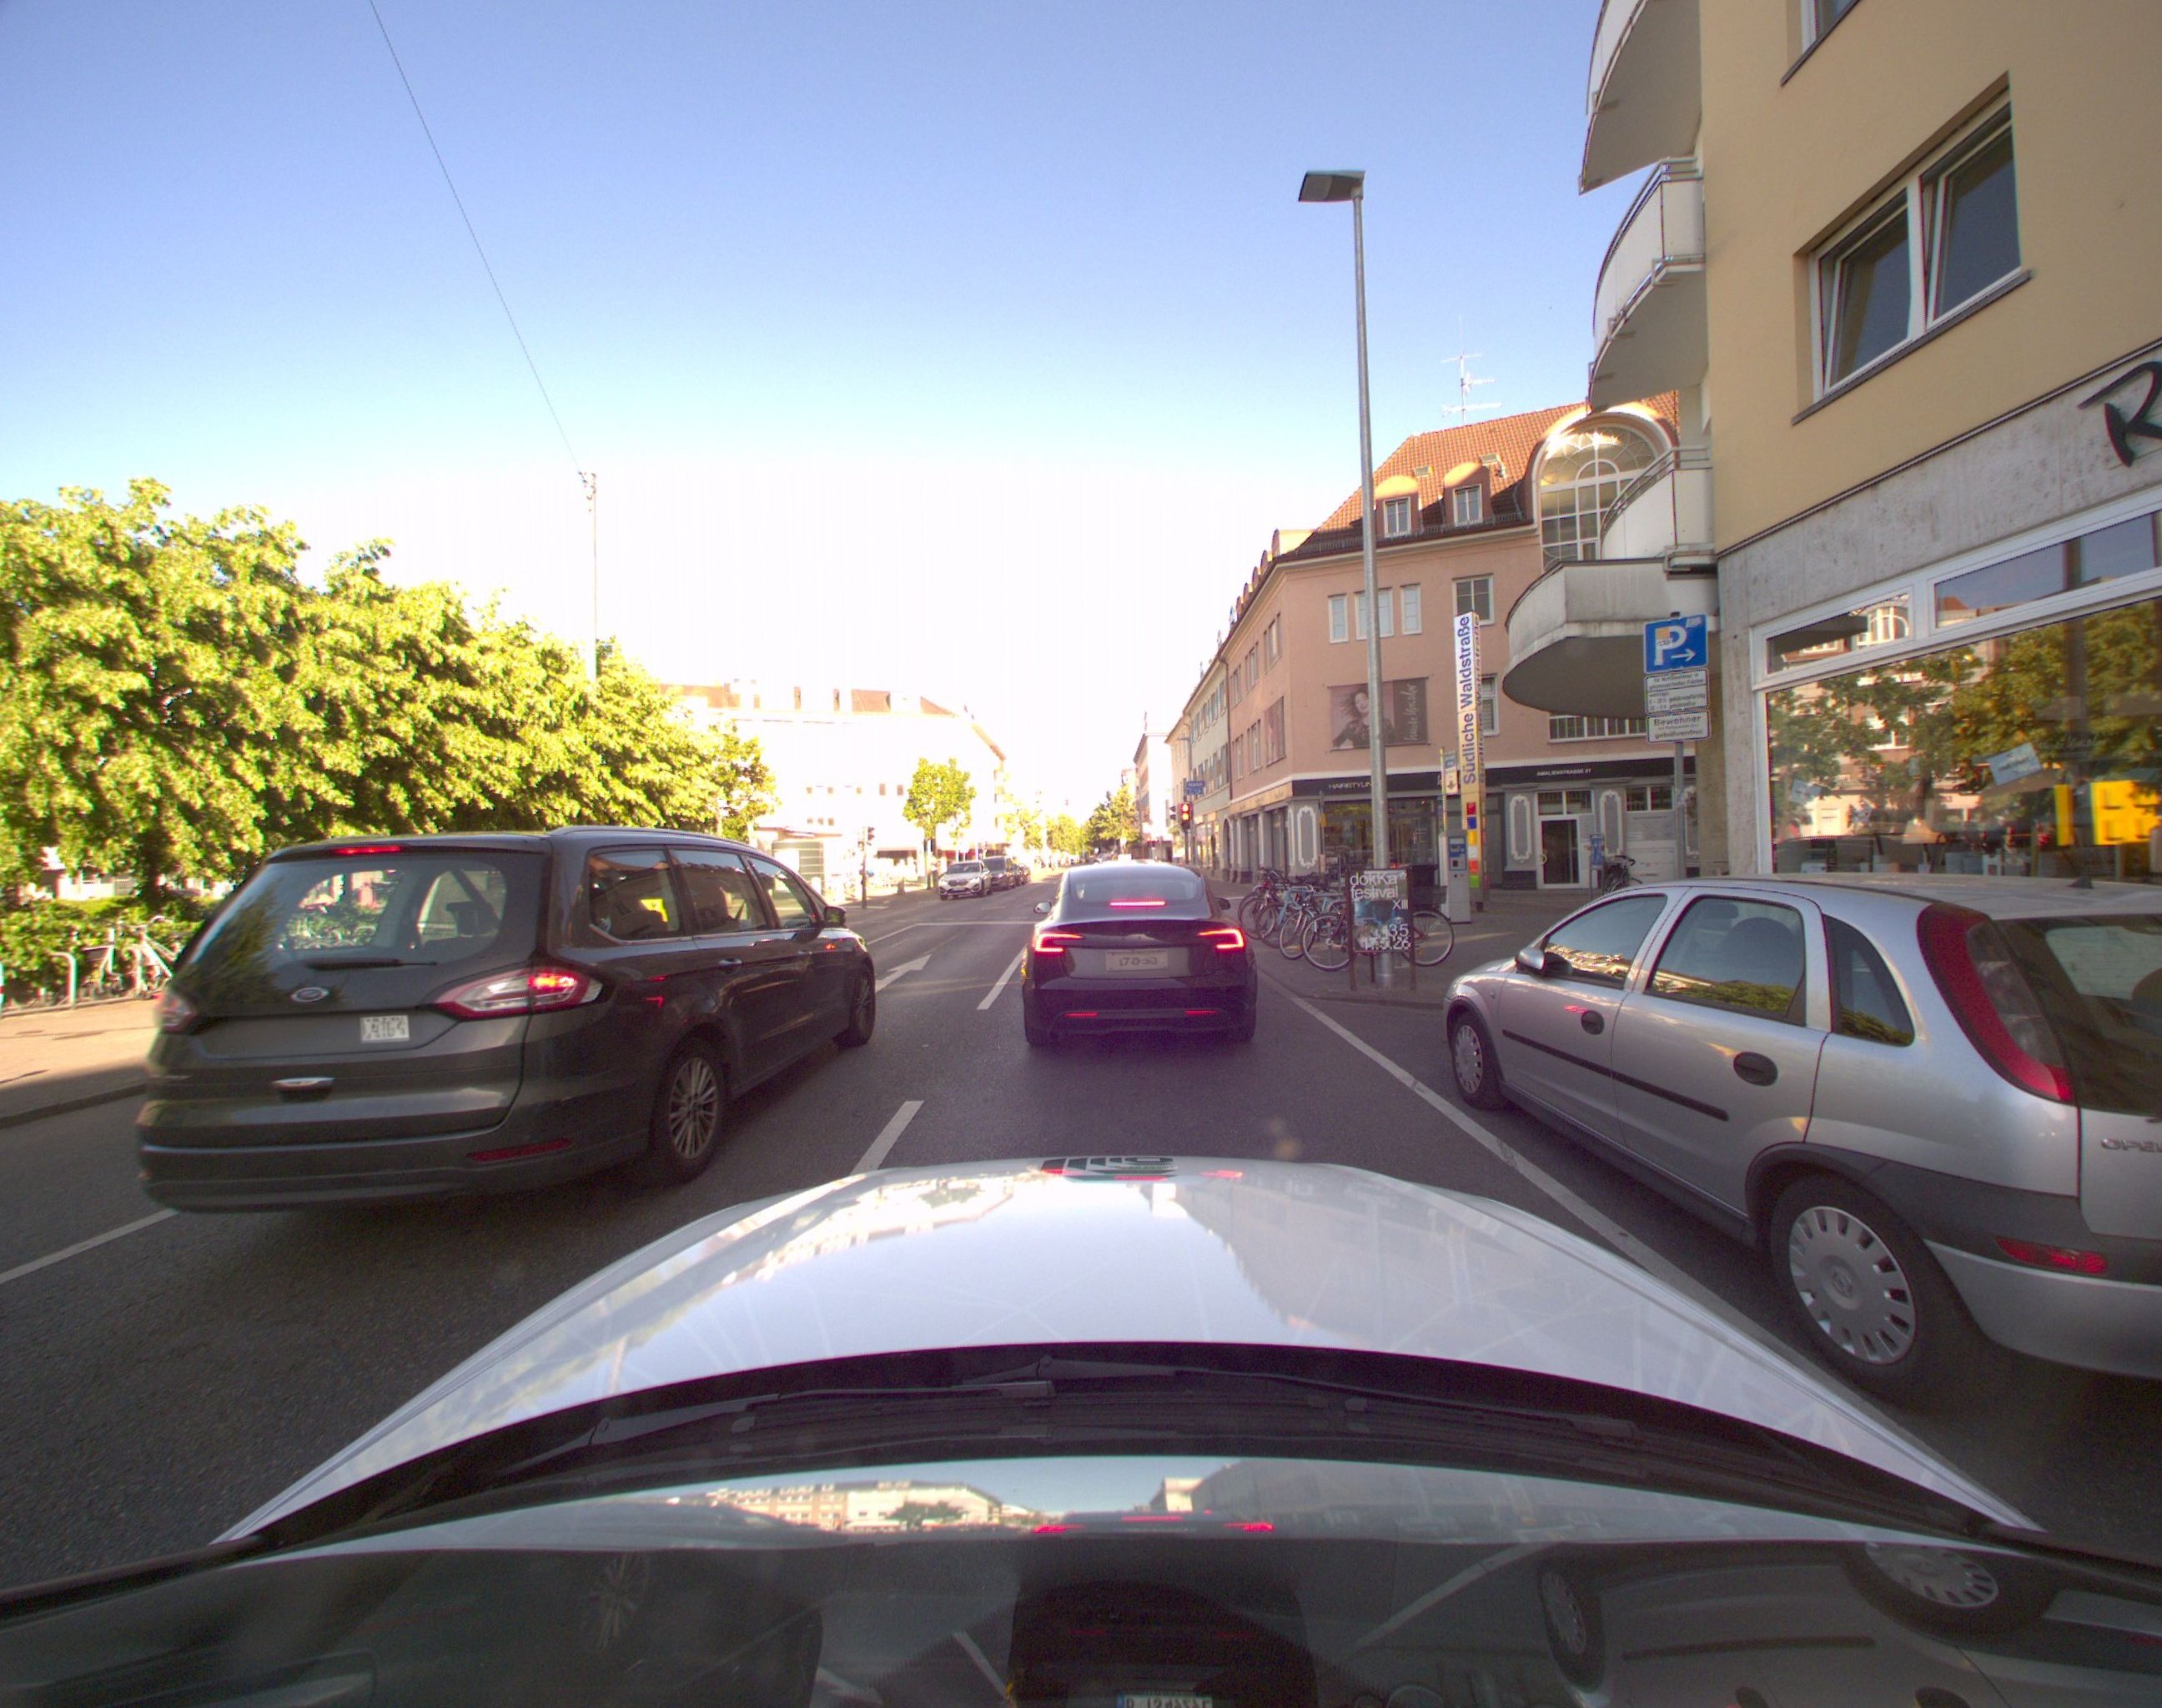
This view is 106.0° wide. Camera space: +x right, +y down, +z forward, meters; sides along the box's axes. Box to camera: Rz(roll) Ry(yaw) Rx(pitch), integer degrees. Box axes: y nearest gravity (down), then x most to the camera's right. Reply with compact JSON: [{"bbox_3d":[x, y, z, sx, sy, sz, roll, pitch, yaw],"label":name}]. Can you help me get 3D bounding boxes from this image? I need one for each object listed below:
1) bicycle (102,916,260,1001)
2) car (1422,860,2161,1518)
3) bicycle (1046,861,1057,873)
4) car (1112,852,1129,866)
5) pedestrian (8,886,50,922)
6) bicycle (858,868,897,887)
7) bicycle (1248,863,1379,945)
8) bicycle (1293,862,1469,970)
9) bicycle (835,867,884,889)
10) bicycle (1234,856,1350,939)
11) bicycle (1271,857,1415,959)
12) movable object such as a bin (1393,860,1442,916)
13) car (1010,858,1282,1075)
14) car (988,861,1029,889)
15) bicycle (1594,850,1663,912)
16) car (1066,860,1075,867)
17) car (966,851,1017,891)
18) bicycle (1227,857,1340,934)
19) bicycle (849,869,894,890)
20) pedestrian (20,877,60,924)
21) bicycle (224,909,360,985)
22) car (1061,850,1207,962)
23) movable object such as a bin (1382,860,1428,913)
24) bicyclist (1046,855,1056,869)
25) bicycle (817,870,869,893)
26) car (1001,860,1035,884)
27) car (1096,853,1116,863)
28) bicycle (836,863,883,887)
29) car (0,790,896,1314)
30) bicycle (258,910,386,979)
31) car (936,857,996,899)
[{"bbox_3d":[-11.446,1.324,10.373,1.590,1.018,0.430,-1,0,3],"label":"bicycle"},{"bbox_3d":[2.979,0.728,3.546,1.607,1.382,3.645,0,0,2],"label":"car"},{"bbox_3d":[-3.470,1.540,95.811,1.108,1.344,3.998,-1,0,-1],"label":"bicycle"},{"bbox_3d":[4.877,0.648,100.805,1.986,1.629,4.002,-1,0,2],"label":"car"},{"bbox_3d":[-61.766,2.915,47.827,1.269,2.014,1.284,-1,-1,28],"label":"pedestrian"},{"bbox_3d":[-13.157,1.512,52.713,2.318,1.156,0.841,-1,0,-4],"label":"bicycle"},{"bbox_3d":[3.531,0.750,12.528,1.788,1.124,0.783,-3,-1,7],"label":"bicycle"},{"bbox_3d":[3.647,0.748,10.040,1.876,1.193,0.693,-3,0,7],"label":"bicycle"},{"bbox_3d":[-12.367,1.362,45.573,2.453,1.156,0.843,-1,0,0],"label":"bicycle"},{"bbox_3d":[3.516,0.717,13.709,1.738,1.267,0.782,-3,-1,4],"label":"bicycle"},{"bbox_3d":[3.551,0.722,11.176,1.713,1.268,0.792,-3,-1,7],"label":"bicycle"},{"bbox_3d":[6.752,0.668,16.366,0.749,1.092,0.628,0,-1,3],"label":"movable object such as a bin"},{"bbox_3d":[0.509,0.790,7.628,1.841,1.455,4.001,-1,0,2],"label":"car"},{"bbox_3d":[-4.354,1.229,49.703,1.988,1.410,4.672,-5,0,-1],"label":"car"},{"bbox_3d":[11.157,0.518,16.681,0.653,1.199,2.223,-2,0,21],"label":"bicycle"},{"bbox_3d":[-2.479,2.161,187.393,1.988,1.637,3.998,-1,0,-1],"label":"car"},{"bbox_3d":[-4.630,0.862,42.884,1.827,1.845,4.677,-5,0,2],"label":"car"},{"bbox_3d":[3.631,0.736,14.737,1.851,1.258,0.834,-3,-1,7],"label":"bicycle"},{"bbox_3d":[-12.941,1.567,50.278,2.528,1.156,0.841,-1,0,-4],"label":"bicycle"},{"bbox_3d":[-45.725,2.029,35.762,1.169,2.013,0.937,-1,0,31],"label":"pedestrian"},{"bbox_3d":[-11.310,1.328,11.692,1.561,1.023,0.430,-1,0,3],"label":"bicycle"},{"bbox_3d":[0.749,0.720,13.336,1.987,1.512,4.175,-1,0,0],"label":"car"},{"bbox_3d":[6.761,0.673,17.004,0.730,1.092,0.628,0,-1,3],"label":"movable object such as a bin"},{"bbox_3d":[-3.497,0.925,95.907,1.123,1.628,0.965,-1,0,-1],"label":"bicyclist"},{"bbox_3d":[-12.573,1.434,43.043,2.497,1.156,0.843,-1,0,0],"label":"bicycle"},{"bbox_3d":[-4.384,1.254,57.300,1.988,1.436,4.672,-5,0,-1],"label":"car"},{"bbox_3d":[5.128,0.849,167.697,3.974,2.013,2.000,-1,0,0],"label":"car"},{"bbox_3d":[-12.898,1.241,47.519,2.472,1.324,0.921,-1,0,-4],"label":"bicycle"},{"bbox_3d":[-2.780,0.698,5.237,1.987,1.772,4.728,-2,0,1],"label":"car"},{"bbox_3d":[-11.361,1.355,12.208,1.517,0.958,0.431,-1,1,3],"label":"bicycle"},{"bbox_3d":[-4.896,0.982,35.256,1.801,1.555,4.310,-5,0,1],"label":"car"}]
